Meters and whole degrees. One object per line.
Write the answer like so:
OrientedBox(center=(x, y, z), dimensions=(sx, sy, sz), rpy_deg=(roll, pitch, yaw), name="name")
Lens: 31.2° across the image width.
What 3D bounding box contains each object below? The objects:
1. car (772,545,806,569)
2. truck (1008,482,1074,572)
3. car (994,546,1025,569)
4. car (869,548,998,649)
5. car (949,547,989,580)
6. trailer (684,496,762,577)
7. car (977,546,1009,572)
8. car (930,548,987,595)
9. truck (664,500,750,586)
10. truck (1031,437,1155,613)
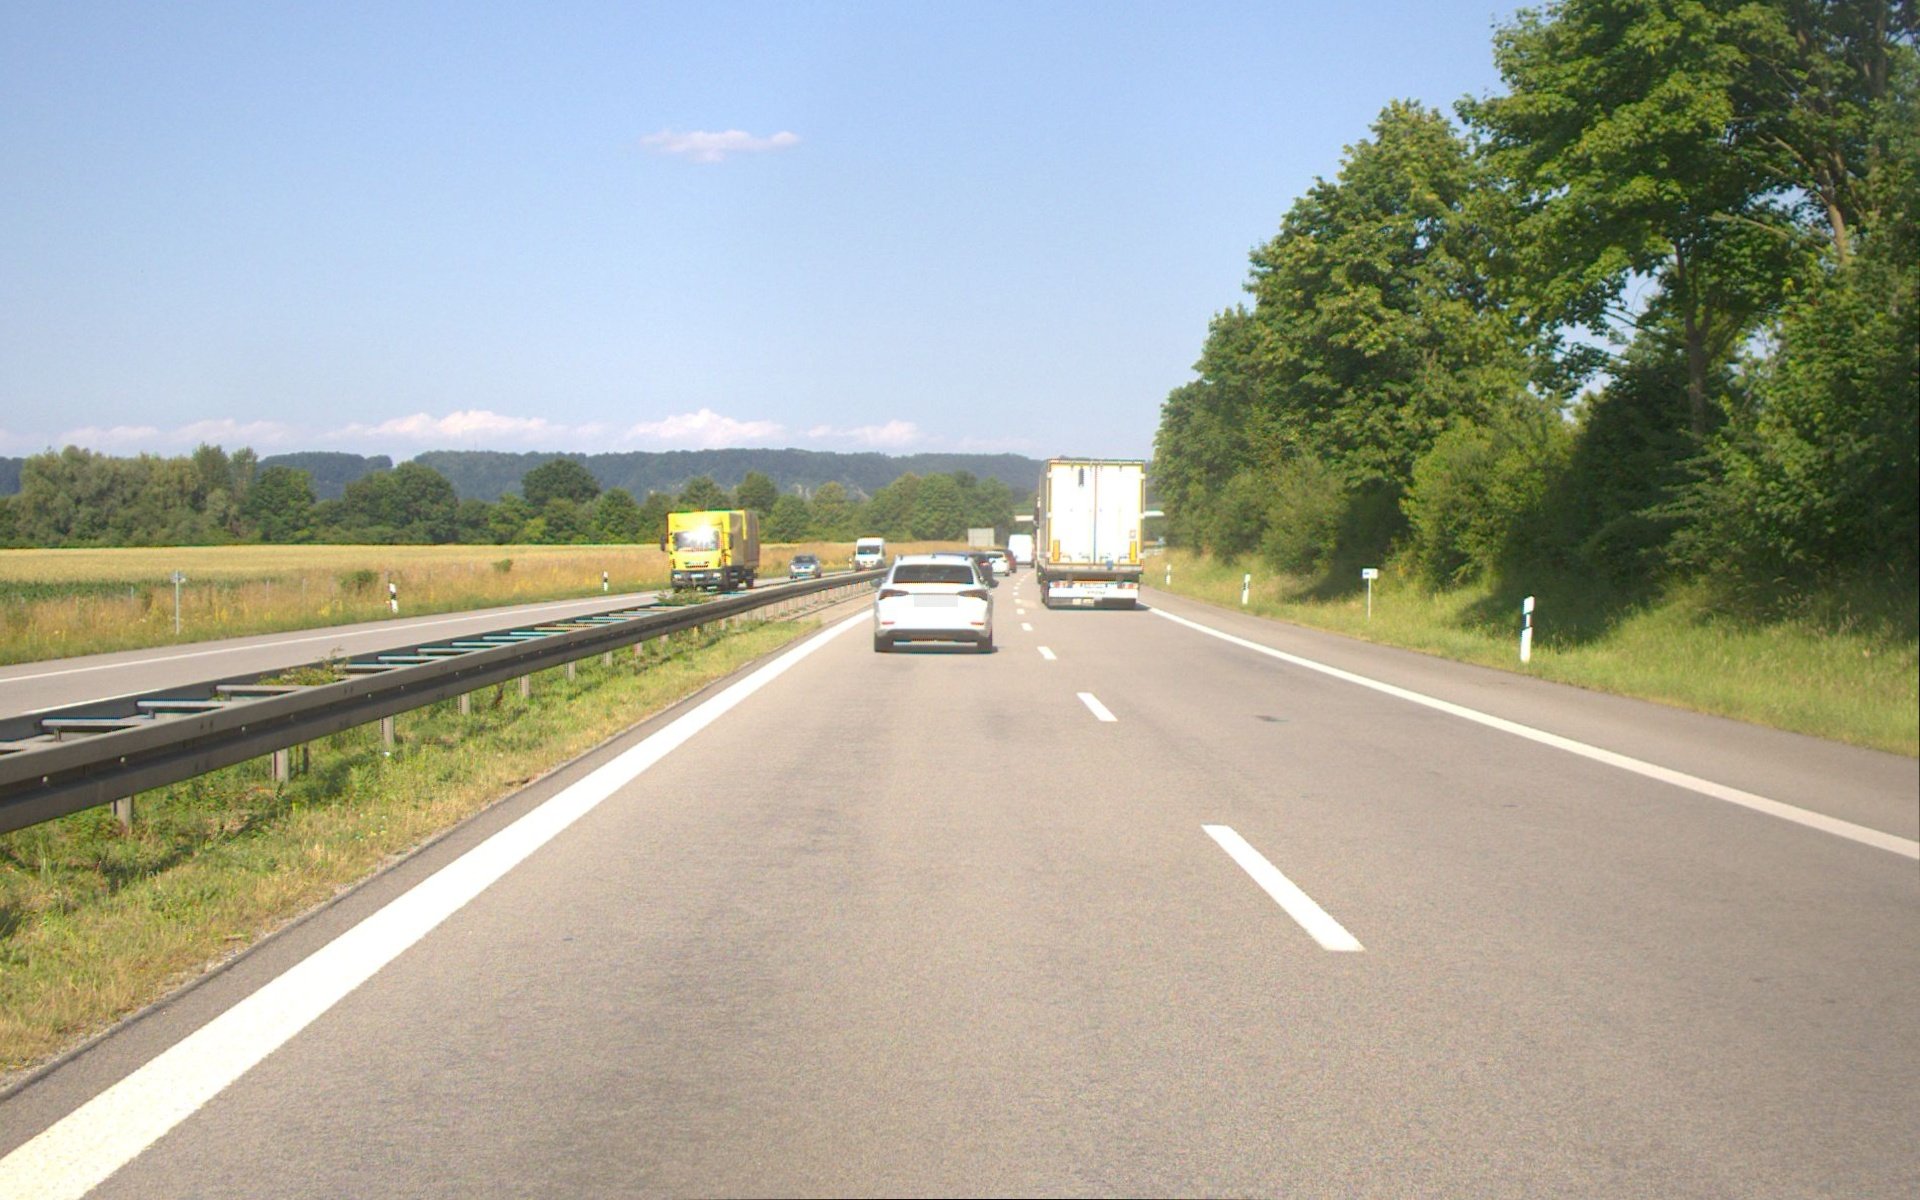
OrientedBox(center=(-10.356, -2.612, 208.665), dimensions=(1.835, 1.371, 4.000), rpy_deg=(0, 1, 1), name="car")
OrientedBox(center=(3.839, -3.449, 162.122), dimensions=(3.013, 4.101, 8.905), rpy_deg=(0, 1, 2), name="truck")
OrientedBox(center=(3.185, -2.742, 220.197), dimensions=(1.771, 1.416, 4.364), rpy_deg=(1, 1, 4), name="car")
OrientedBox(center=(-0.422, -0.060, 52.660), dimensions=(1.840, 1.416, 5.255), rpy_deg=(1, 1, -1), name="car")
OrientedBox(center=(0.395, -1.648, 153.946), dimensions=(1.771, 1.416, 4.365), rpy_deg=(1, 1, 0), name="car")
OrientedBox(center=(-10.621, -2.848, 154.840), dimensions=(2.735, 3.448, 9.233), rpy_deg=(-2, 1, 0), name="trailer")
OrientedBox(center=(1.884, -2.364, 197.796), dimensions=(1.771, 1.416, 4.365), rpy_deg=(1, 1, 0), name="car")
OrientedBox(center=(-0.064, -0.909, 108.600), dimensions=(1.771, 1.416, 4.495), rpy_deg=(1, 1, 0), name="car")
OrientedBox(center=(-10.650, -2.408, 145.606), dimensions=(2.735, 3.371, 9.233), rpy_deg=(-3, 1, 0), name="truck")
OrientedBox(center=(3.585, -2.059, 94.803), dimensions=(3.152, 4.596, 8.905), rpy_deg=(0, 1, 1), name="truck")
